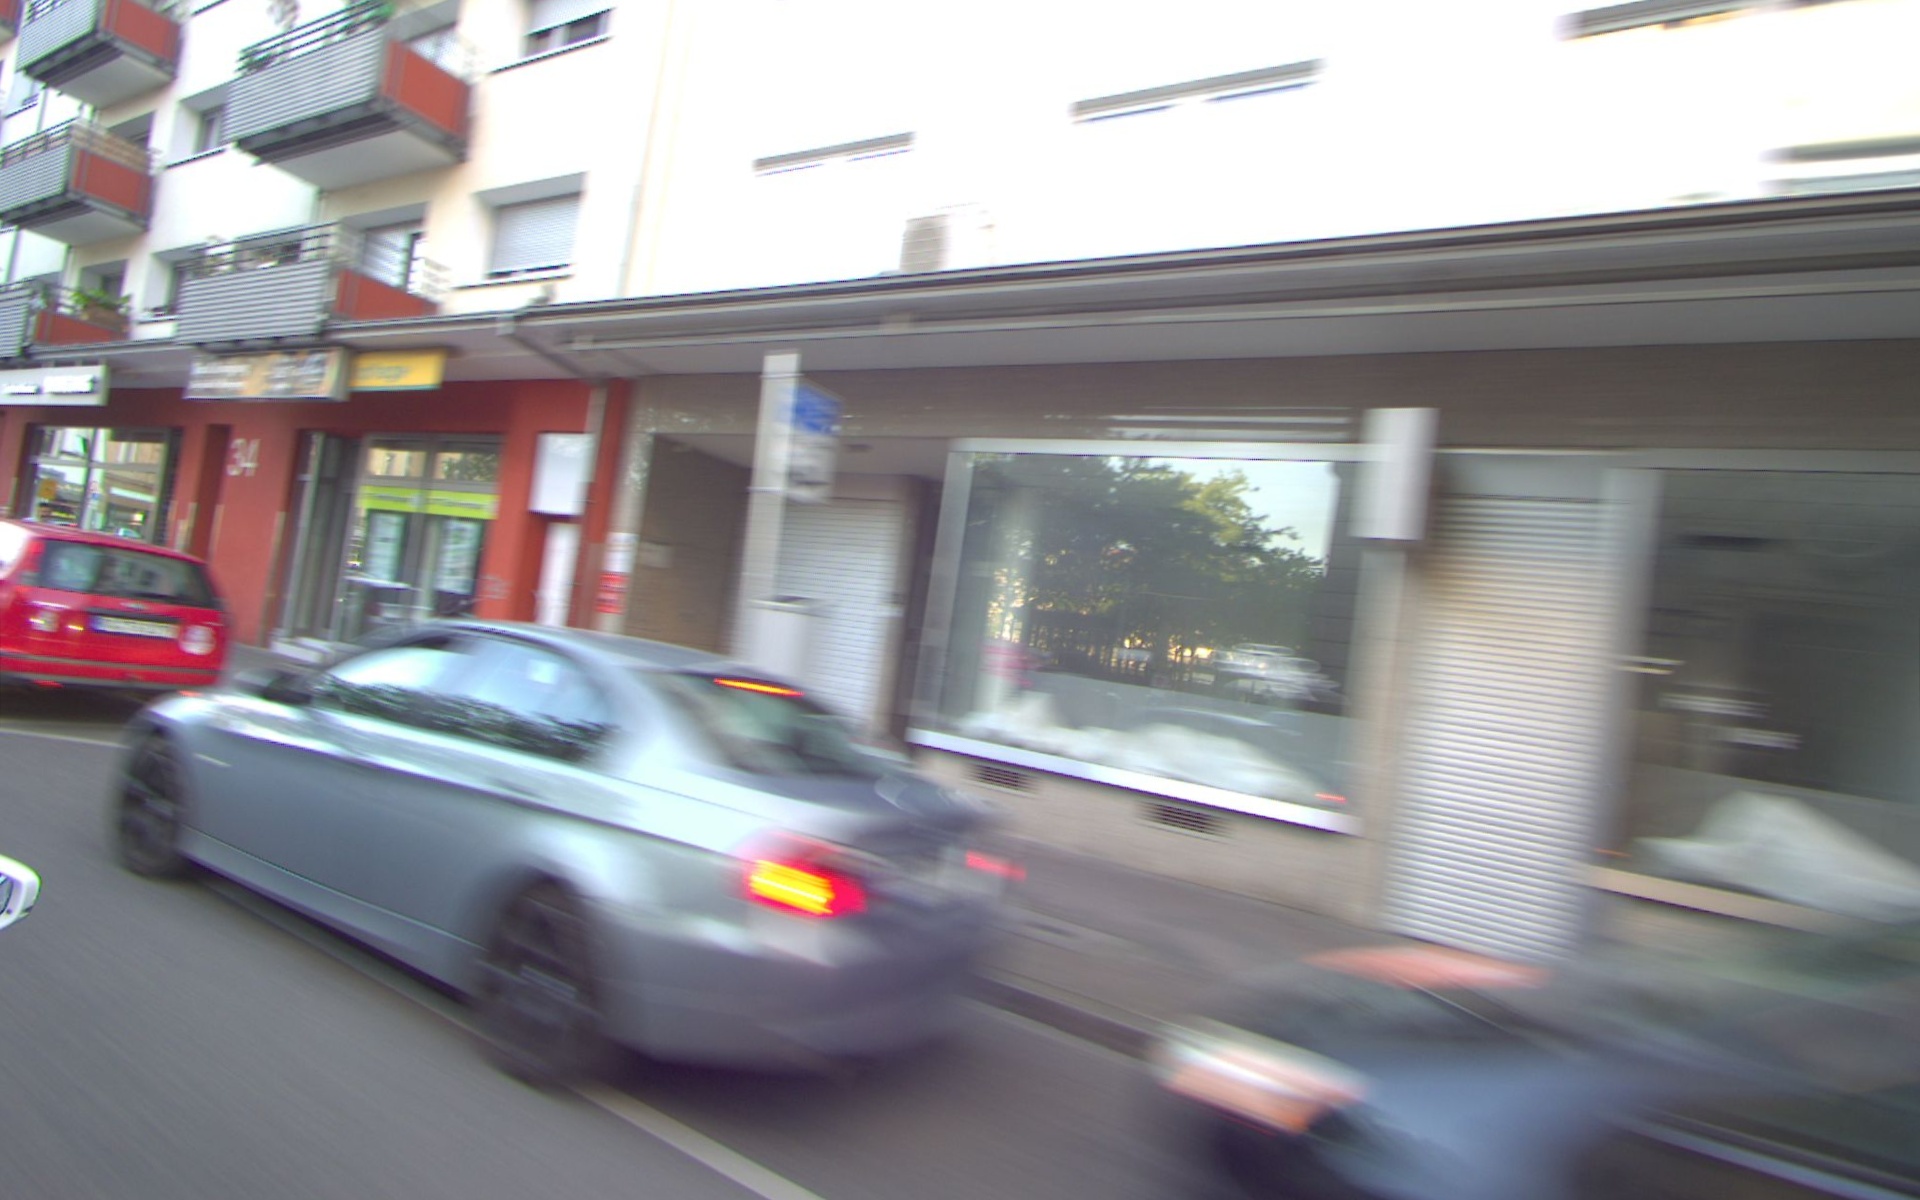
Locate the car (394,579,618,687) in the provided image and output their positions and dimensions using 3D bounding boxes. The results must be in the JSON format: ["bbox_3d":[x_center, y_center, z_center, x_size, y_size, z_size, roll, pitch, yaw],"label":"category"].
[{"bbox_3d":[-8.221,0.575,18.118,3.936,1.351,1.743,7,-2,34],"label":"car"}]

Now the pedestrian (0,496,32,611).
[{"bbox_3d":[-14.504,-0.729,15.066,0.644,1.682,0.648,7,1,33],"label":"pedestrian"}]

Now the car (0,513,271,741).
[{"bbox_3d":[-8.334,0.044,8.895,4.573,1.527,1.719,7,-5,30],"label":"car"}]

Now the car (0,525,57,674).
[{"bbox_3d":[-12.051,-0.279,11.344,3.982,1.527,1.612,7,-5,33],"label":"car"}]

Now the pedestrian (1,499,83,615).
[{"bbox_3d":[-14.174,-0.658,15.537,0.781,1.682,0.648,7,1,34],"label":"pedestrian"}]

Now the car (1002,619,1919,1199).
[{"bbox_3d":[2.442,1.195,1.657,4.417,1.626,1.799,6,-5,36],"label":"car"}]

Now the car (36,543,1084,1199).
[{"bbox_3d":[-1.990,0.807,4.521,4.603,1.429,1.744,7,-5,30],"label":"car"}]
